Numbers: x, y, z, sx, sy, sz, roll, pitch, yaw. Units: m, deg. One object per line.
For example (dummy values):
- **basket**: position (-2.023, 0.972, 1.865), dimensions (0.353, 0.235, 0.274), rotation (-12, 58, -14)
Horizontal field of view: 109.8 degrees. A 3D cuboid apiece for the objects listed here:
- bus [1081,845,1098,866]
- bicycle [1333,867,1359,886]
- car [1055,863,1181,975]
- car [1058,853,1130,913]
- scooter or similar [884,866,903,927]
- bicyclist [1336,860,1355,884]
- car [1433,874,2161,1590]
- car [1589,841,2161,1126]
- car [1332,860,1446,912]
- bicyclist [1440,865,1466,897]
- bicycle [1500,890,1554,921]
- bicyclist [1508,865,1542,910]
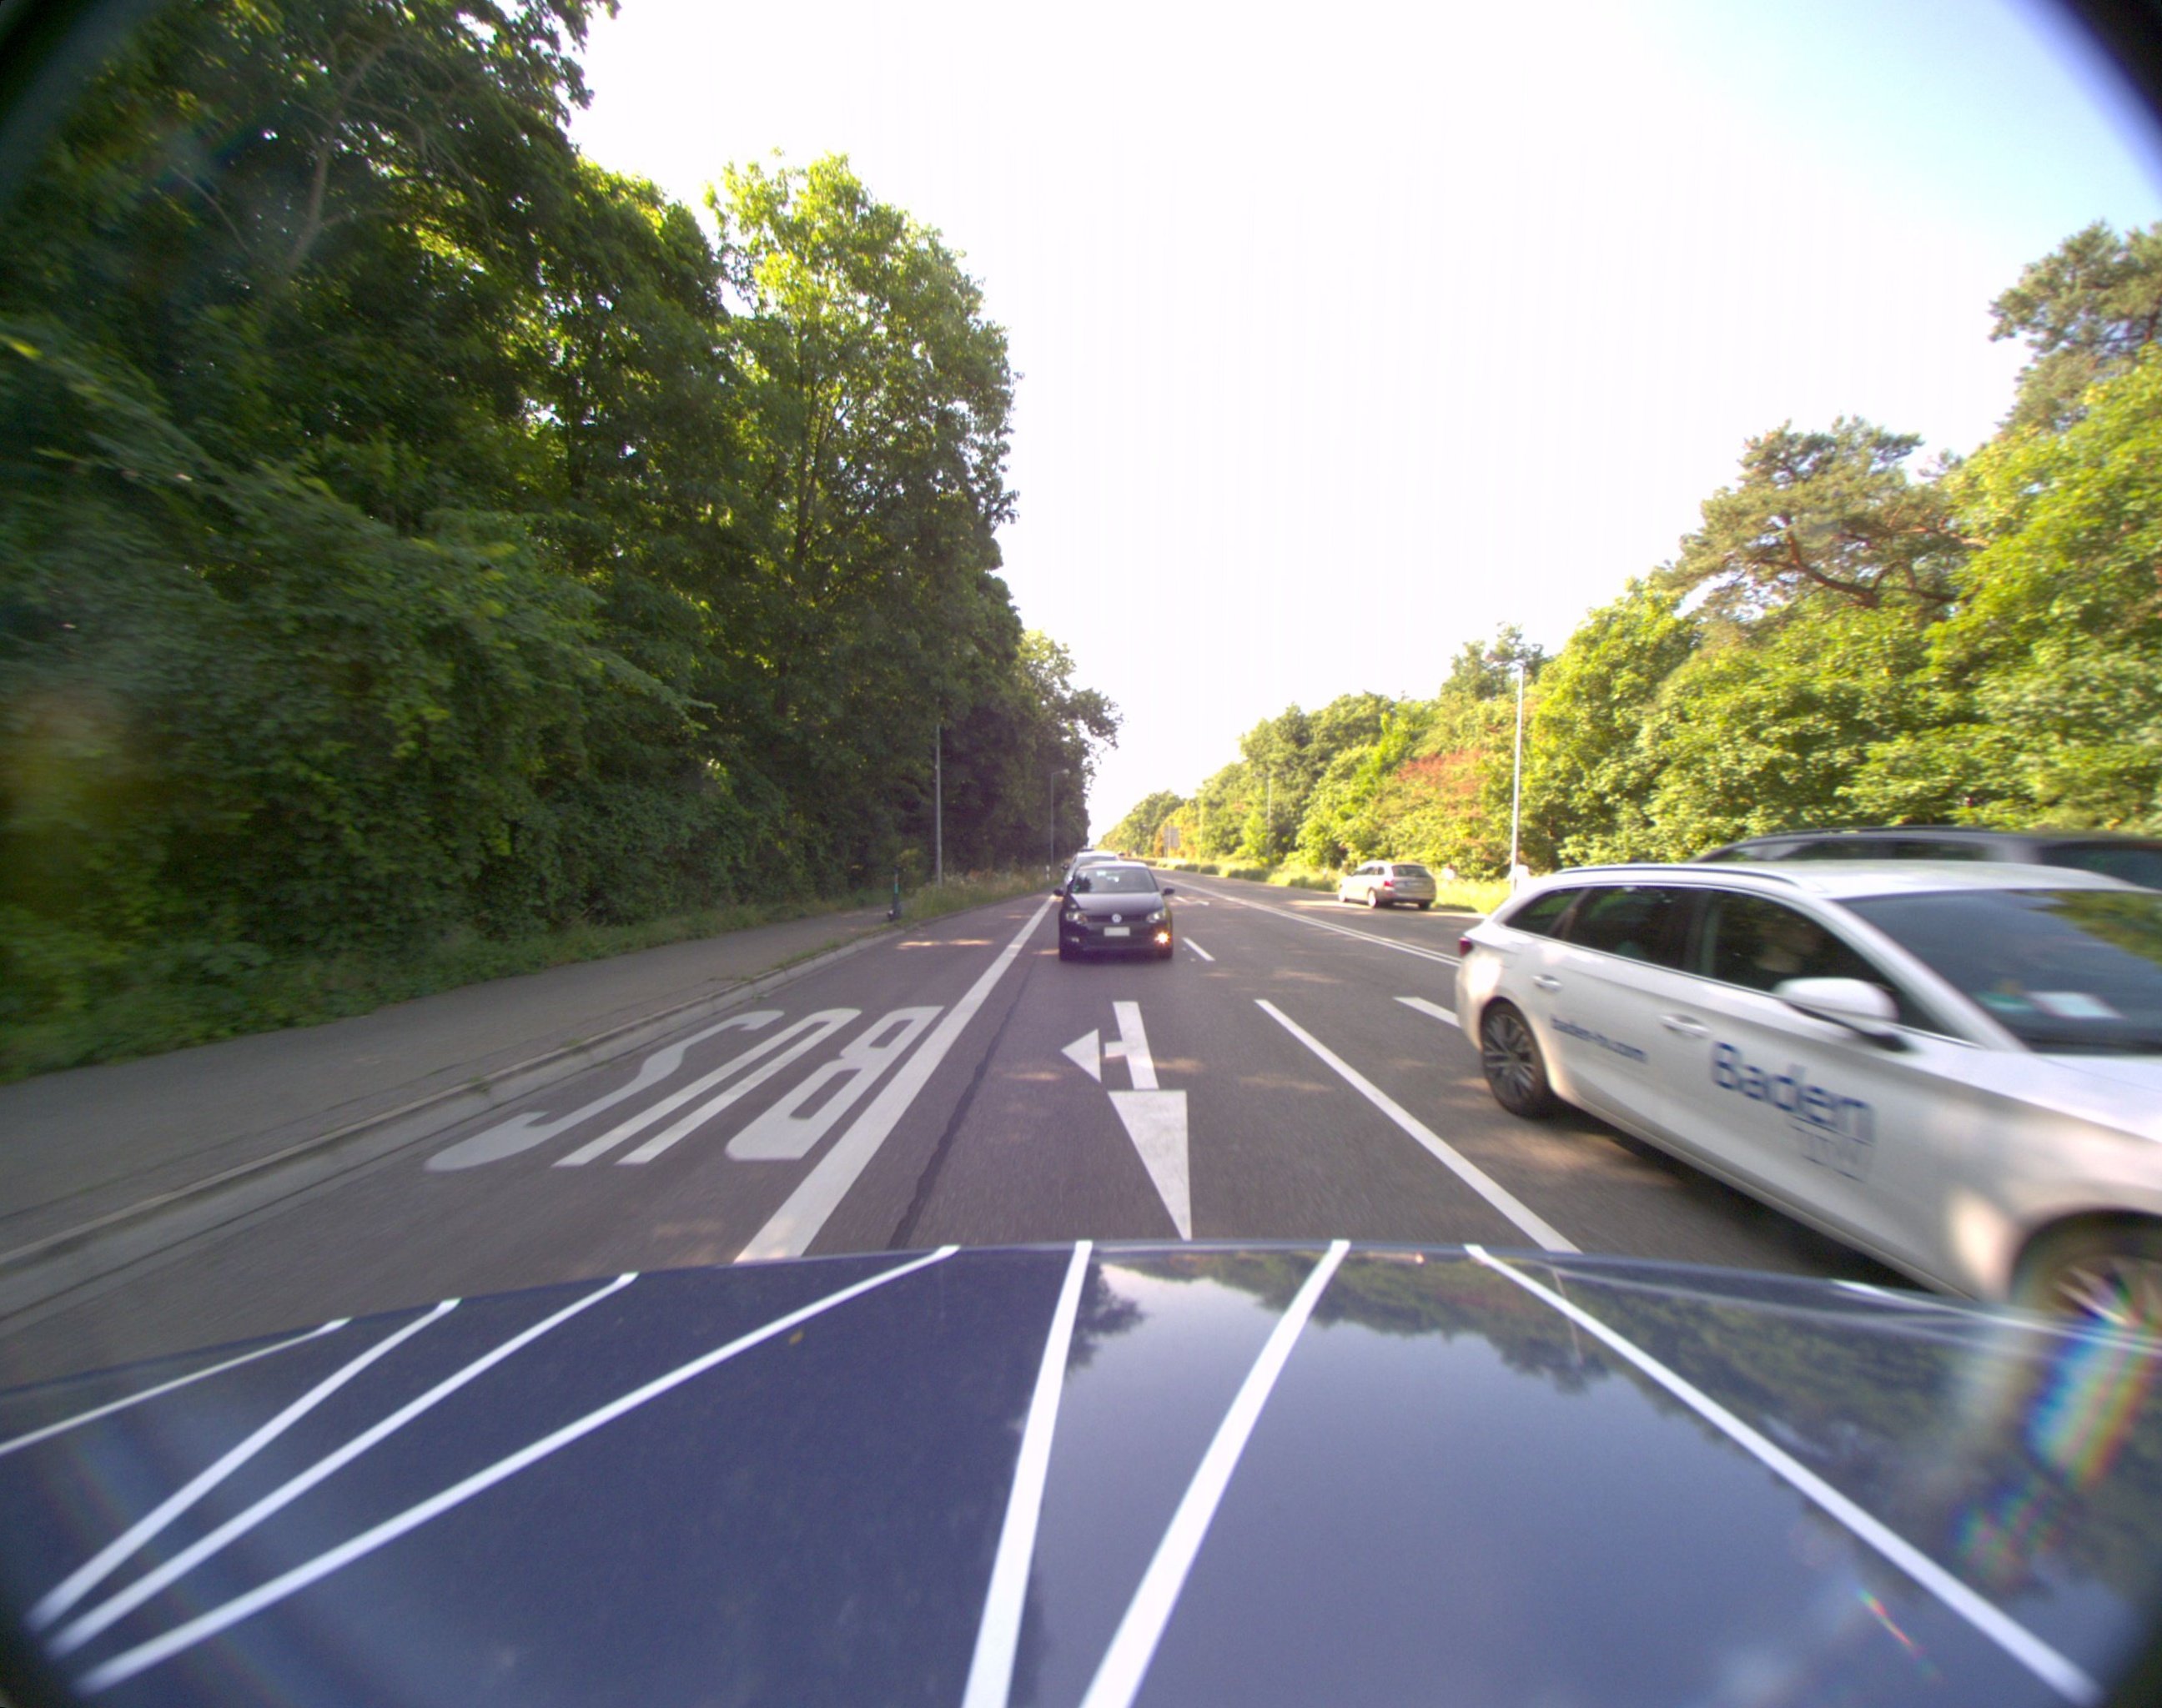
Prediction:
- **bus**: position (1.371, 0.219, 132.172), dimensions (2.782, 3.437, 7.792), rotation (-1, 1, 0)
- **bicycle**: position (14.928, 1.271, 42.855), dimensions (0.677, 0.951, 1.913), rotation (-1, 1, -2)
- **car**: position (0.690, 0.908, 12.281), dimensions (1.650, 1.422, 4.057), rotation (-2, 0, 6)
- **car**: position (0.503, 0.803, 23.097), dimensions (1.812, 1.639, 4.309), rotation (-1, 0, 6)
- **scooter or similar**: position (-4.249, 0.928, 17.194), dimensions (0.401, 1.299, 1.328), rotation (0, 0, -14)
- **bicyclist**: position (14.922, 1.016, 42.826), dimensions (0.677, 1.335, 0.975), rotation (-1, 1, -2)
- **car**: position (3.211, 0.855, 2.812), dimensions (1.788, 1.416, 4.423), rotation (-1, 0, 1)
- **car**: position (6.862, 0.766, 6.705), dimensions (1.795, 1.687, 4.391), rotation (1, 1, 1)
- **car**: position (9.640, 0.943, 24.219), dimensions (1.707, 1.424, 4.460), rotation (1, 0, -1)
- **bicyclist**: position (15.076, 1.074, 30.827), dimensions (0.702, 1.256, 0.727), rotation (-1, 1, 2)
- **bicycle**: position (15.073, 1.735, 25.749), dimensions (0.605, 0.909, 2.139), rotation (0, 0, 2)
- **bicyclist**: position (15.062, 1.124, 25.814), dimensions (0.612, 1.458, 0.944), rotation (-1, 1, 2)
